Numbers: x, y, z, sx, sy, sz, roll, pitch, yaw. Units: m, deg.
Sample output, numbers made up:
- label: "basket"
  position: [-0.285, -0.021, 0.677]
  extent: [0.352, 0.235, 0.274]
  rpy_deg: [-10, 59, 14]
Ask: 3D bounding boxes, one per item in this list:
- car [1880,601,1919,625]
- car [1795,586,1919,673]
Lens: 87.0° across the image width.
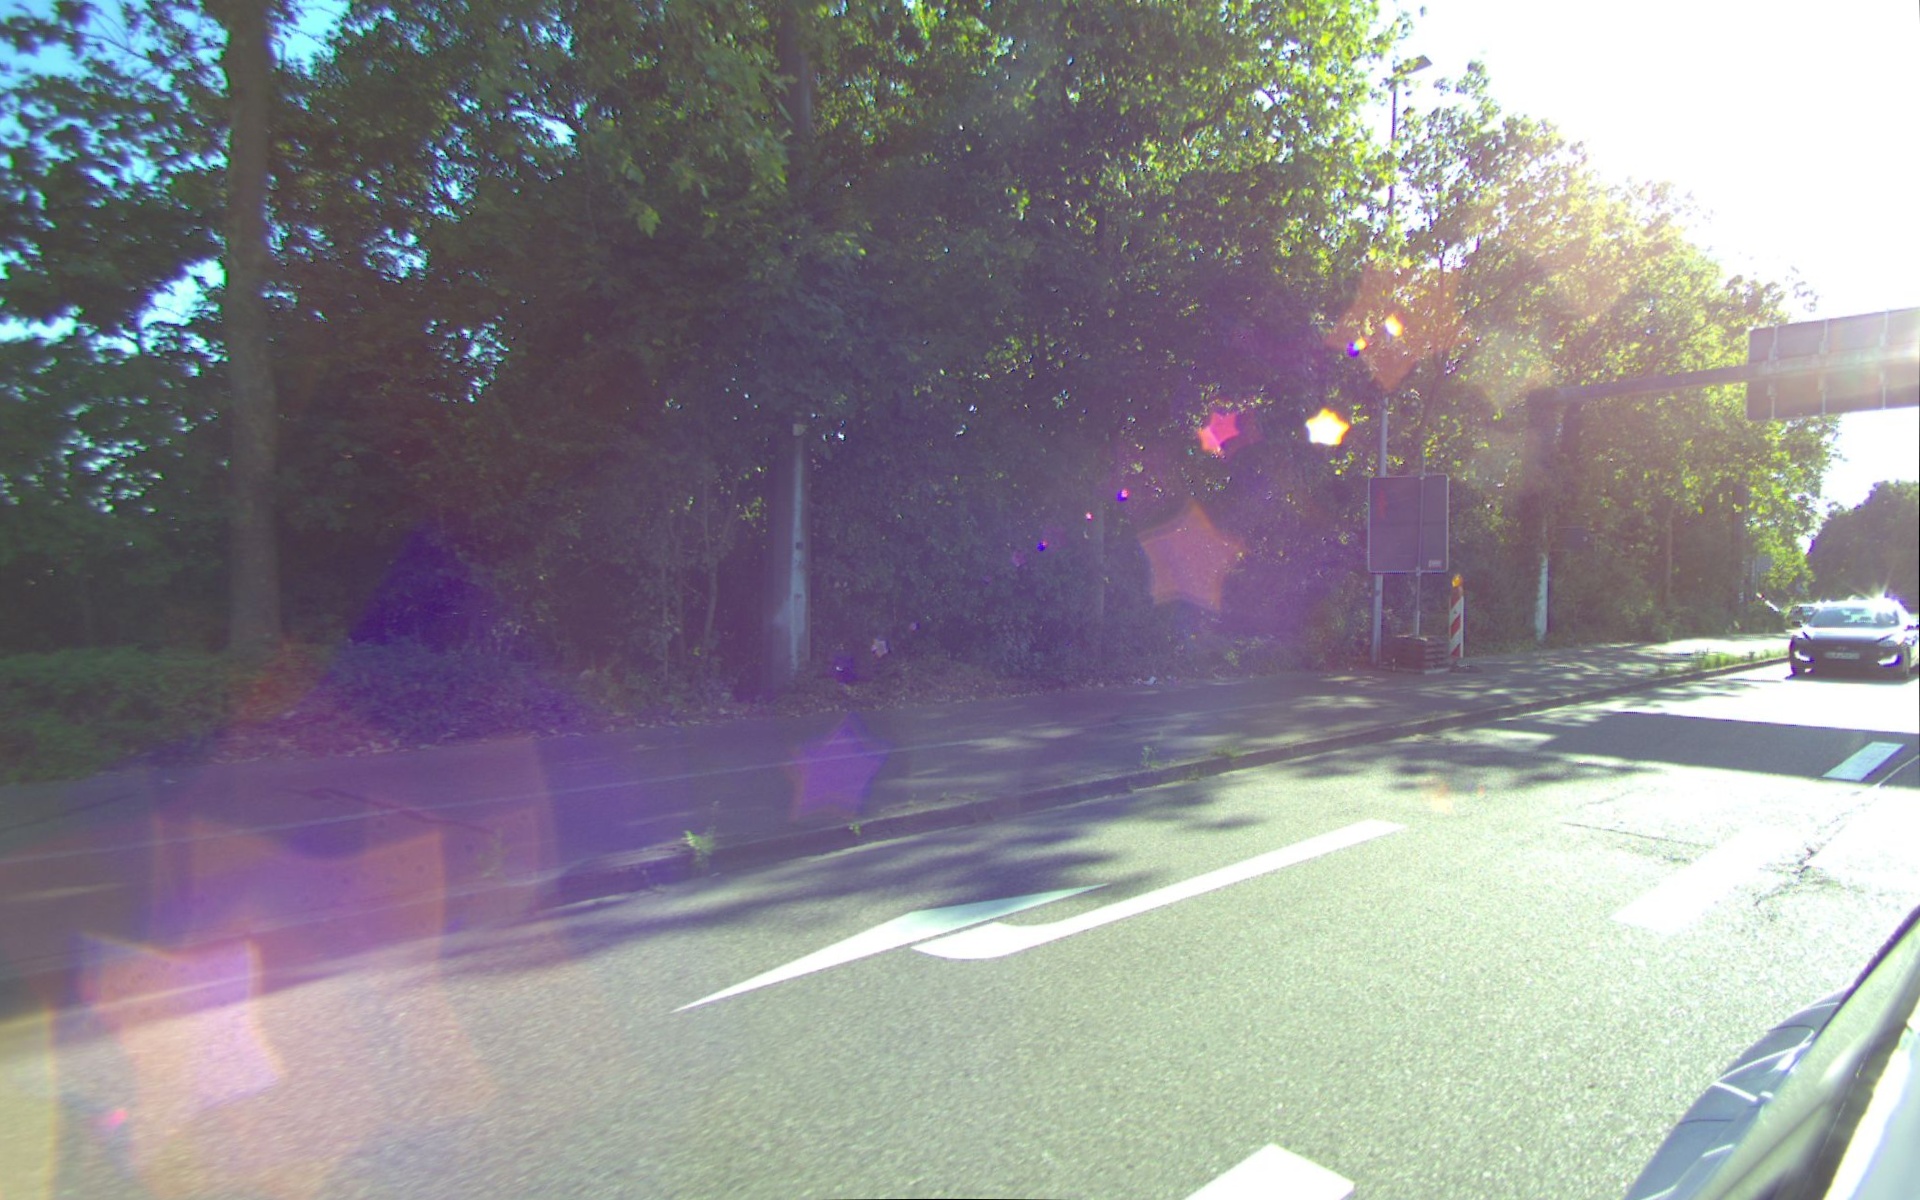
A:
- label: "car"
  position: [62.359, 0.848, 67.036]
  extent: [3.932, 1.482, 1.742]
  rpy_deg: [0, 2, -43]
- label: "car"
  position: [18.483, 0.529, 20.493]
  extent: [3.930, 1.558, 1.785]
  rpy_deg: [0, 1, -41]
